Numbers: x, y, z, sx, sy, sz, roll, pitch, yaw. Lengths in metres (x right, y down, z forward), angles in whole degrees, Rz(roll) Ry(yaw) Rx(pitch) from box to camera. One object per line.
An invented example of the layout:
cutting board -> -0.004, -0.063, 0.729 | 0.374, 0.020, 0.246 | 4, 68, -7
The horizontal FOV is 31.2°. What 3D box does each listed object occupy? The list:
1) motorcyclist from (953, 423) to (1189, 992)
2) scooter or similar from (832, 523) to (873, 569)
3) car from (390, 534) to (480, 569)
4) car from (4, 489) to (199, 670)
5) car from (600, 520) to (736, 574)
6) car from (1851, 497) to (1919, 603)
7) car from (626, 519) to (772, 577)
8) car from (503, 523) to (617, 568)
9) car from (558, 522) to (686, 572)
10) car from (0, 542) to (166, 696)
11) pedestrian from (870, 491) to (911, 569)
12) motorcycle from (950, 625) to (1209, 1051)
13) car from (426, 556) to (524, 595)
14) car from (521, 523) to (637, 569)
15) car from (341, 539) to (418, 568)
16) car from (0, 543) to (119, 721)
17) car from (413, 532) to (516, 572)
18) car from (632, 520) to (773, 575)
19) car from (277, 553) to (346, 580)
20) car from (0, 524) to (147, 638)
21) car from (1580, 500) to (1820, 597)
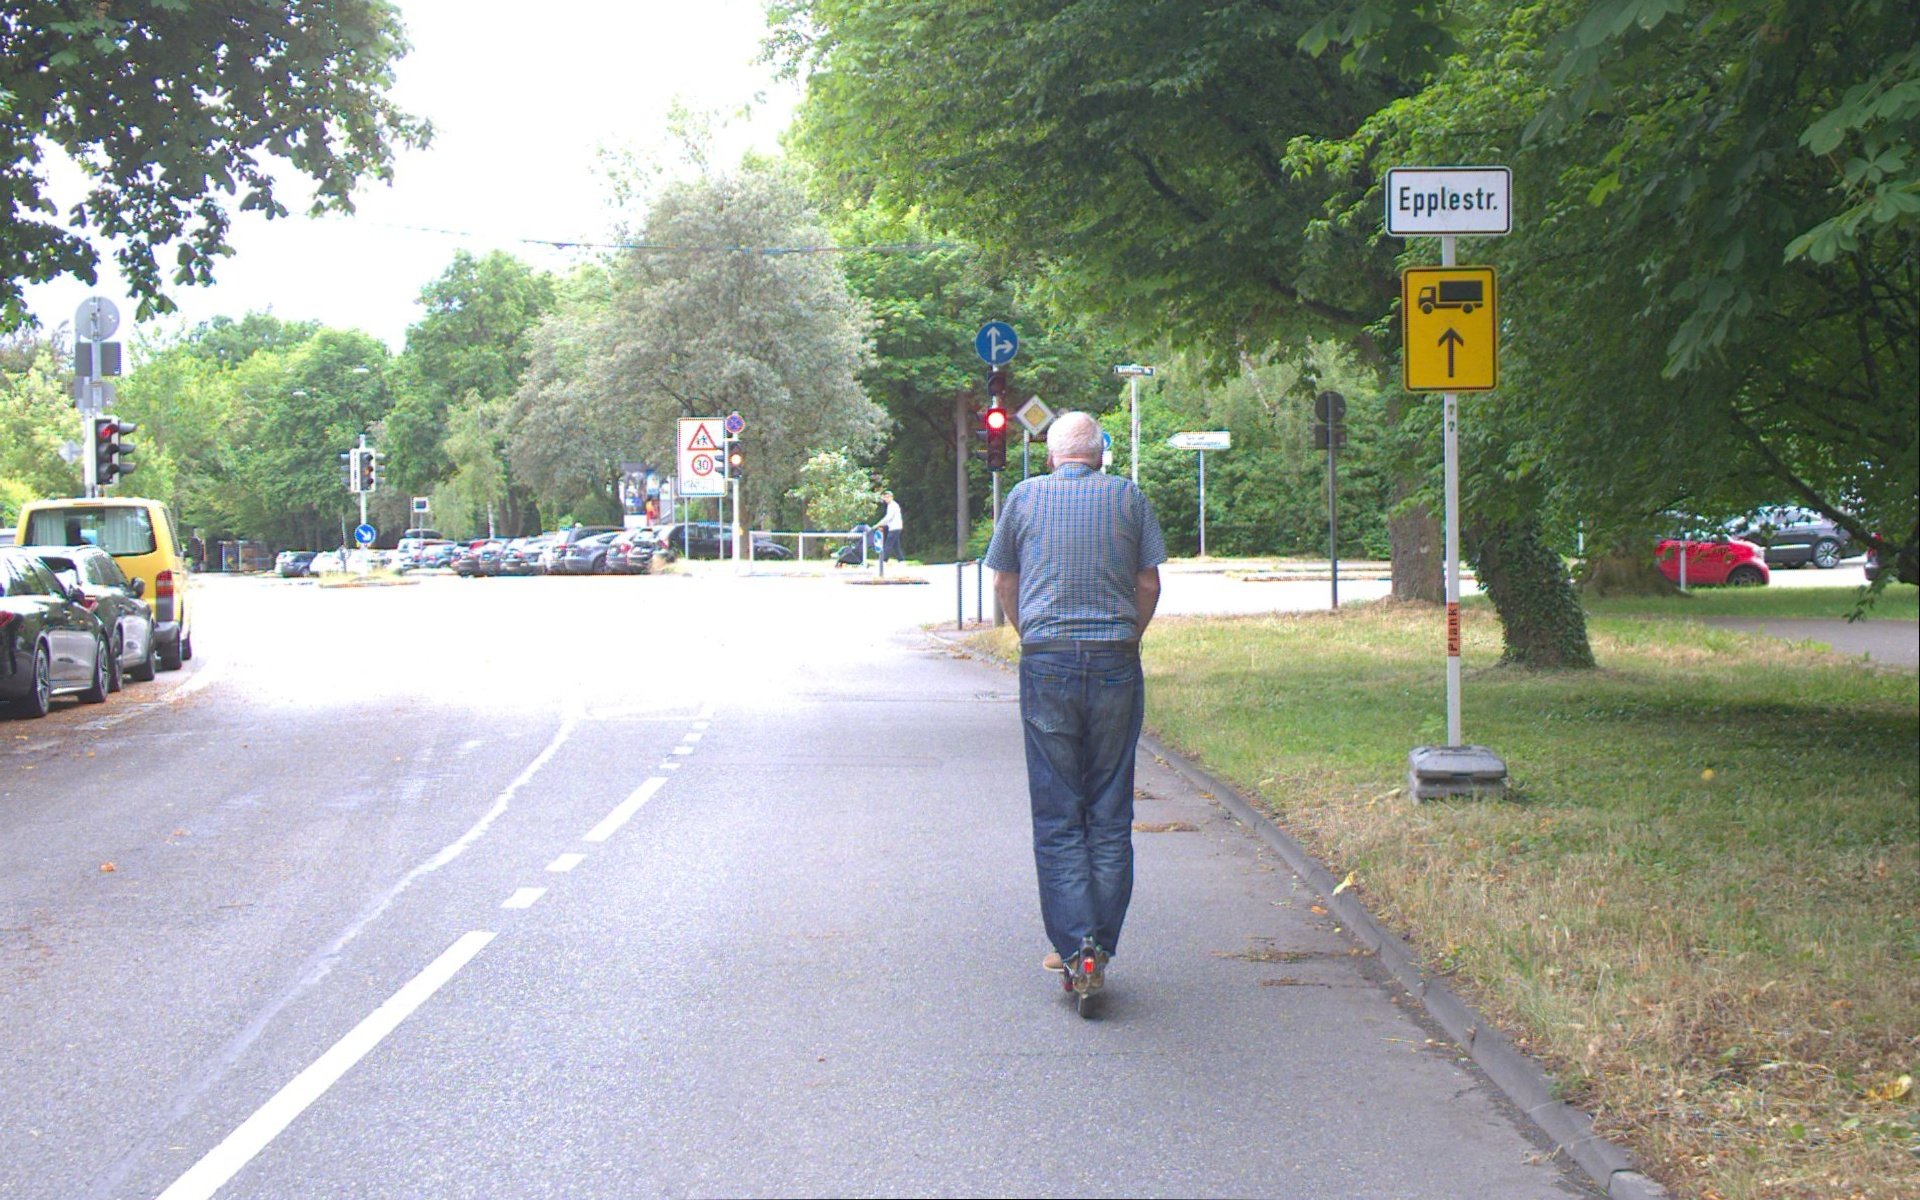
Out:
motorcyclist -> 0.343, 0.329, 10.974 | 0.672, 1.755, 0.639 | 1, 1, -4
scooter or similar -> -2.432, -1.228, 77.937 | 0.710, 1.045, 0.787 | -1, 1, 15
car -> -23.969, -2.212, 157.102 | 3.986, 1.505, 1.800 | -1, 1, -7
car -> -9.960, -0.255, 40.146 | 1.857, 1.957, 4.505 | -1, 1, -10
car -> -8.830, -1.606, 103.711 | 3.986, 1.505, 1.800 | -1, 1, -7
car -> 17.679, -0.845, 59.844 | 3.991, 1.720, 1.799 | 2, 5, 21
car -> -7.348, -1.467, 96.670 | 3.986, 1.505, 1.800 | -1, 1, -7
car -> -14.307, -1.942, 122.794 | 3.986, 1.505, 1.800 | -1, 1, -7
car -> -10.862, -1.714, 110.411 | 3.986, 1.505, 1.800 | -1, 1, -7
car -> -9.176, 0.156, 34.550 | 1.794, 1.411, 4.190 | -1, 1, -6
pedestrian -> -1.573, -1.585, 77.735 | 0.732, 1.755, 0.661 | -1, 1, 15
motorcycle -> 0.352, 0.707, 10.767 | 0.672, 1.213, 1.274 | 1, 1, -4
car -> -20.230, -1.044, 143.424 | 3.986, 1.505, 1.800 | -1, 1, -7
car -> -13.409, -1.912, 120.962 | 3.986, 1.505, 1.800 | -1, 1, -7
car -> -31.576, -2.531, 187.049 | 3.986, 1.505, 1.800 | -1, 1, -7
car -> -8.535, 0.242, 29.333 | 1.891, 1.405, 4.555 | -1, 1, -4
car -> -19.704, -1.913, 136.803 | 3.986, 1.505, 1.800 | -1, 1, -7
car -> -7.532, -1.527, 100.246 | 3.986, 1.505, 1.800 | -1, 1, -7
car -> -39.397, -2.042, 208.823 | 3.986, 1.505, 1.800 | -1, 1, -7
car -> -13.509, -0.271, 48.230 | 3.986, 1.505, 1.801 | -1, 3, -10
car -> 13.075, -0.930, 60.936 | 3.988, 1.551, 1.800 | 1, 4, 8
